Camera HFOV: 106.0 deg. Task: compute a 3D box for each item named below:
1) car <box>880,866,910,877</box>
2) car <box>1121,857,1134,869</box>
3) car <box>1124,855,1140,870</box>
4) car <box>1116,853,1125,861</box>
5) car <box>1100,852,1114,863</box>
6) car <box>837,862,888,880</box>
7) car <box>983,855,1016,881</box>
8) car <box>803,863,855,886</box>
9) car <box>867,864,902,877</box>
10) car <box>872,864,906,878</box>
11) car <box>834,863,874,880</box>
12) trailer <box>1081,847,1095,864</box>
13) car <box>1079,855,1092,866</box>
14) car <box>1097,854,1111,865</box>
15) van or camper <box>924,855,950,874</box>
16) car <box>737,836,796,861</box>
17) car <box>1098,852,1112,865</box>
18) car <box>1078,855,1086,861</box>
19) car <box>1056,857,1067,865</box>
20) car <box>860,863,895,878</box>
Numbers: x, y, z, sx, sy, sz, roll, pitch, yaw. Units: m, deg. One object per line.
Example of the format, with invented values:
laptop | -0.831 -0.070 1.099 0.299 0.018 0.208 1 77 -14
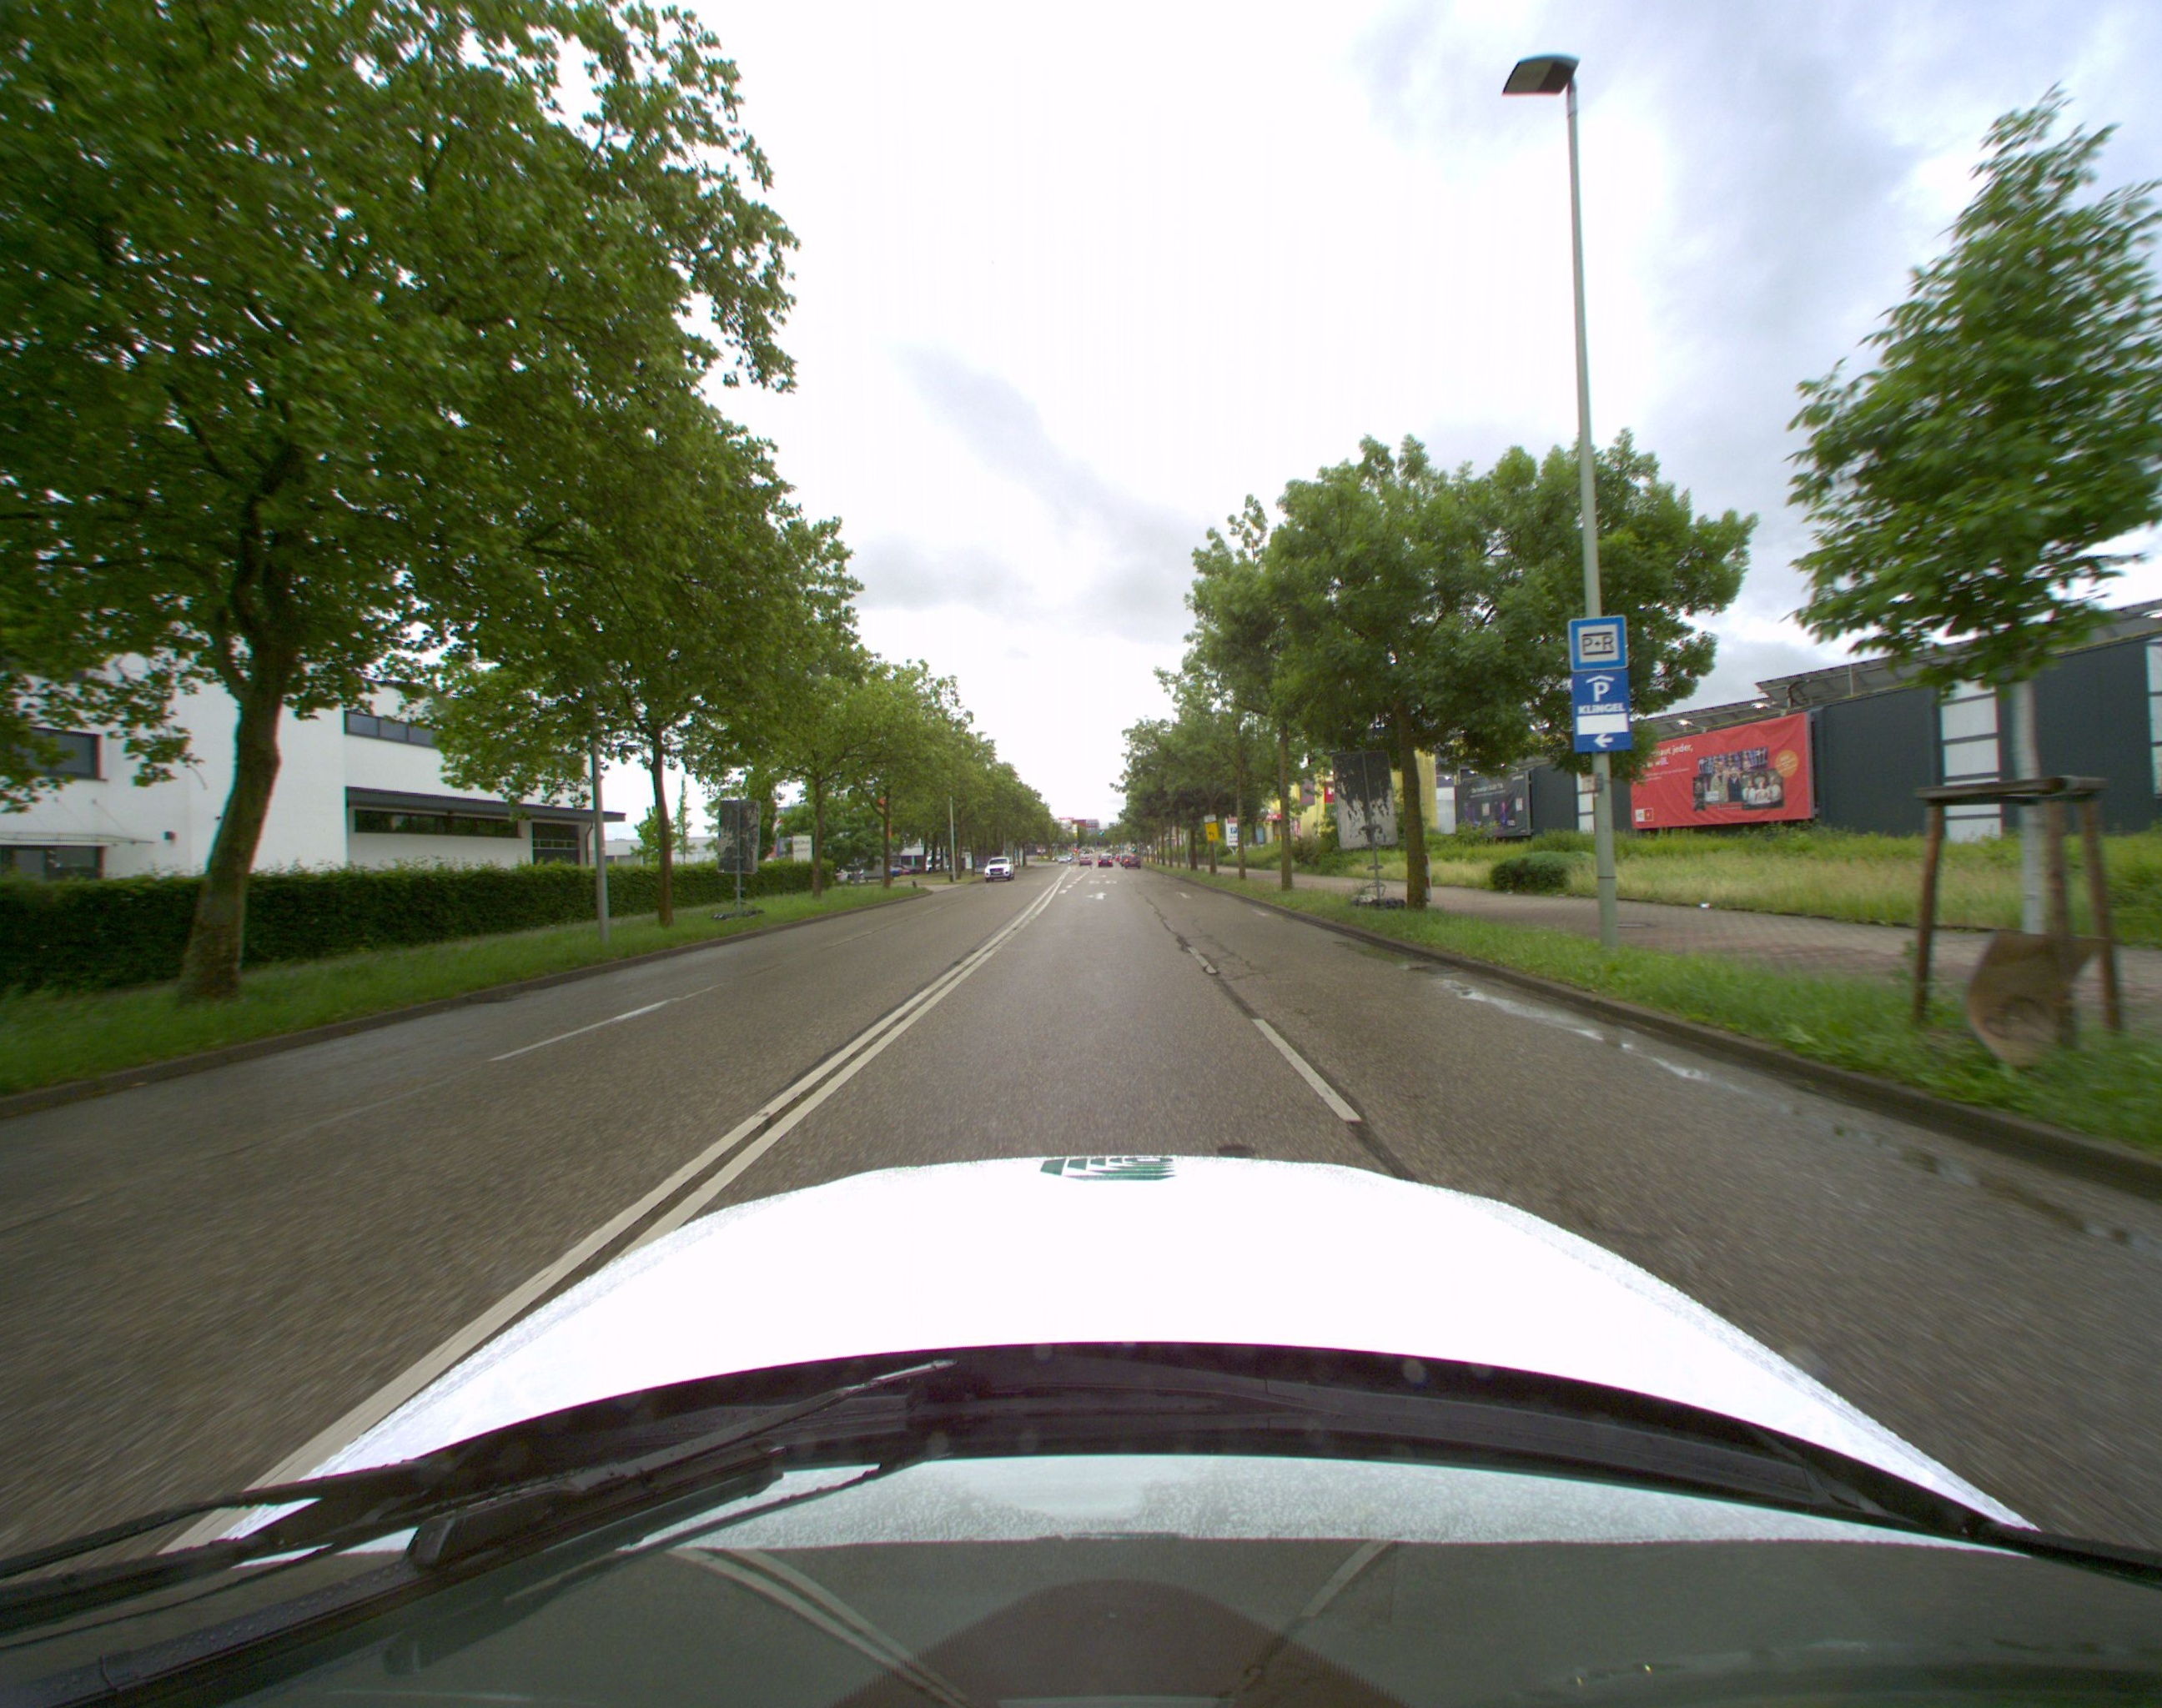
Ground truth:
car | -27.447 2.591 120.402 3.959 1.467 1.605 -2 0 13
car | 6.551 1.220 115.412 1.794 1.587 4.452 0 0 2
car | 6.032 0.992 96.304 1.720 1.624 4.472 -2 0 1
car | 7.823 0.648 161.027 1.689 1.443 3.991 -2 0 2
car | 3.751 0.479 116.791 1.678 1.377 3.997 -2 0 -2
car | -25.815 2.025 96.296 5.362 1.903 2.414 -2 0 -3
car | -6.133 1.018 61.824 1.905 1.805 5.340 -3 0 0
car | -18.616 1.488 60.391 2.111 1.496 5.247 -2 0 0
car | -25.920 2.206 107.599 3.957 1.520 1.873 -2 0 15
car | -25.974 2.260 110.173 3.955 1.767 1.873 -2 0 17
car | -25.808 1.962 92.660 3.976 1.767 1.881 -2 0 -2
trailer | 1.175 0.334 148.118 2.365 2.897 5.545 -3 0 0
car | 0.745 1.036 133.183 1.900 1.578 4.882 -3 0 1
car | 3.103 0.782 109.821 1.775 1.398 4.000 -1 0 1
van or camper | -18.624 1.330 105.483 1.986 2.470 6.404 -1 0 2
car | -25.596 -0.438 66.339 3.972 1.889 1.964 -2 0 2
car | 3.678 0.669 124.621 1.986 2.014 4.001 0 -1 1
car | 0.267 0.973 206.140 1.678 1.377 3.997 -2 0 -2
car | -4.001 1.423 169.015 1.989 1.429 4.679 -3 0 -3
car | -26.244 2.159 104.993 3.956 1.767 1.873 -2 0 16
